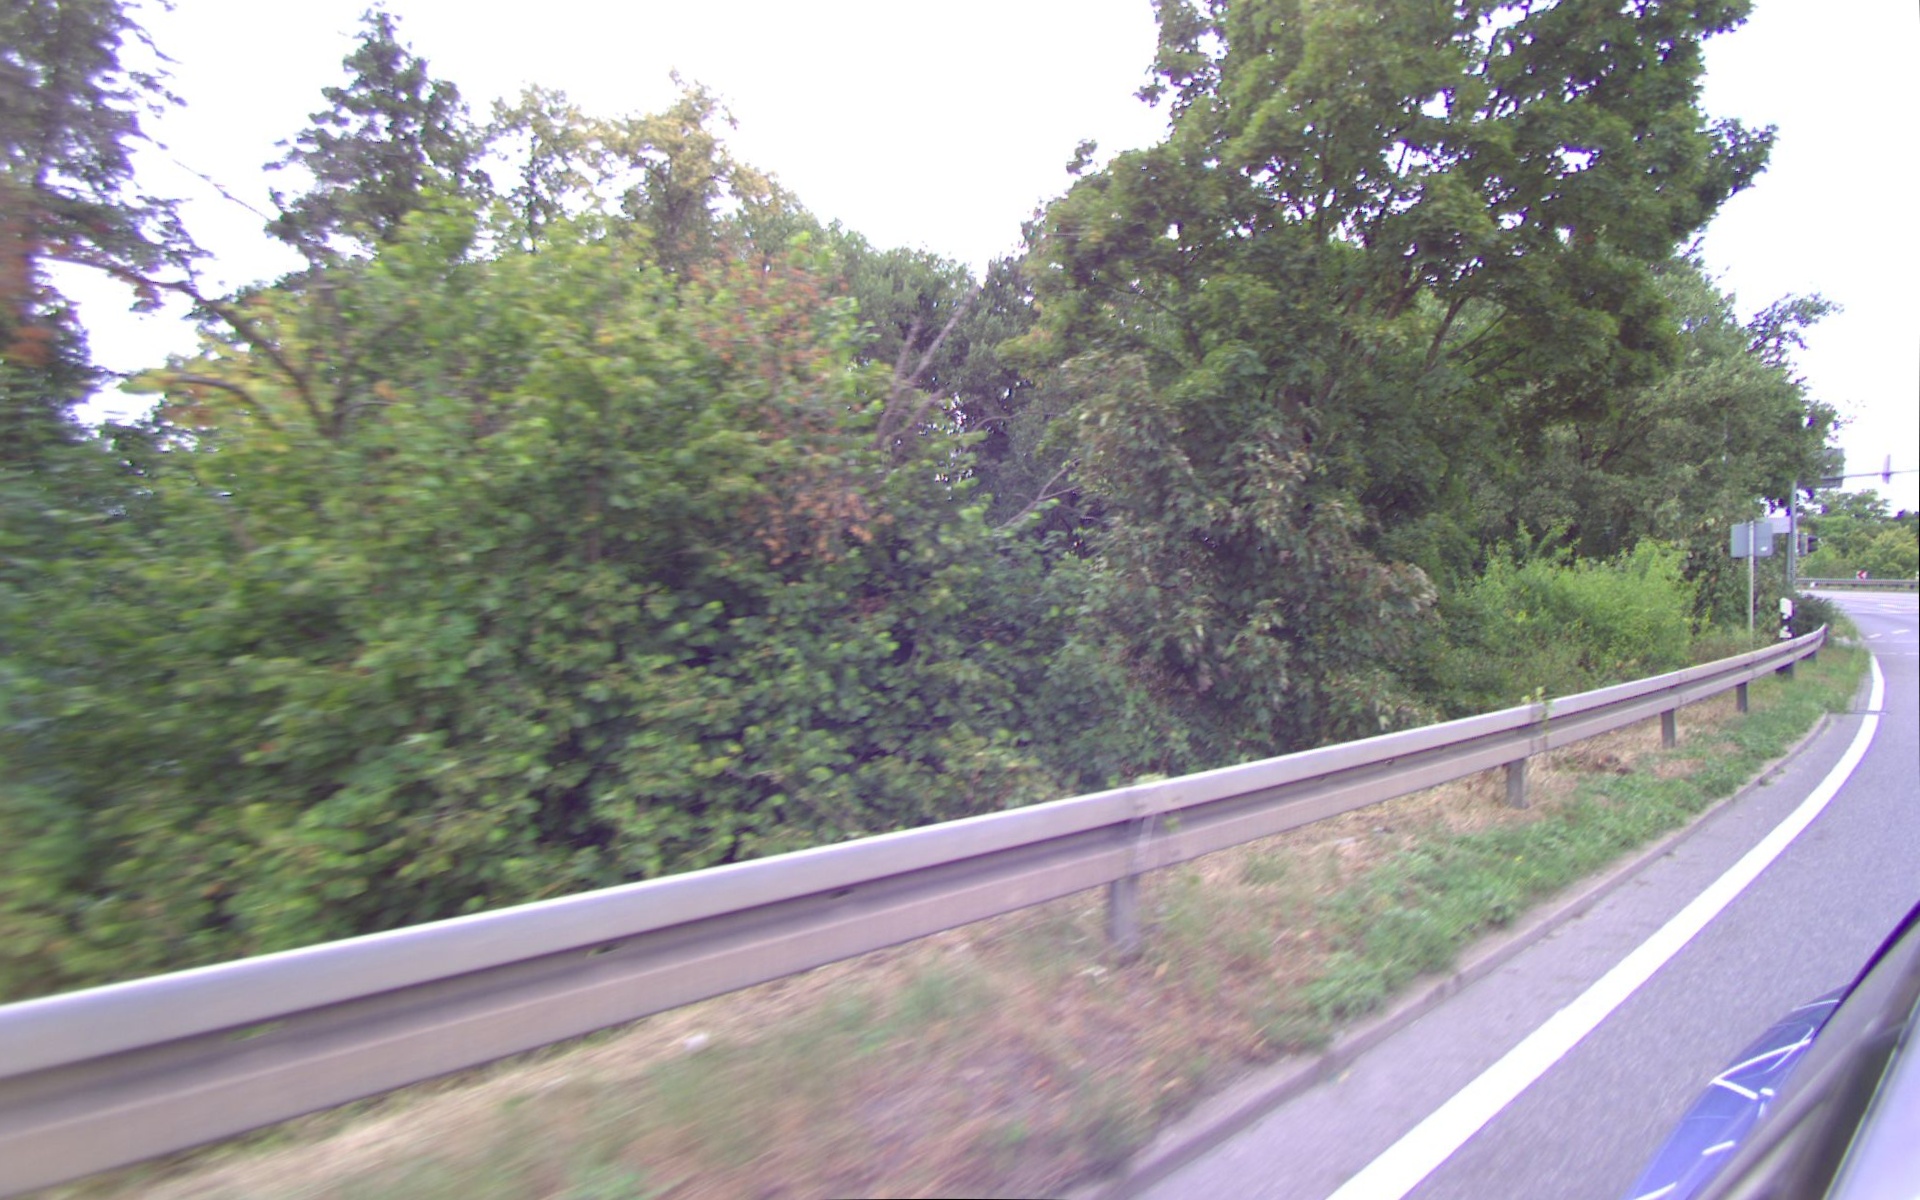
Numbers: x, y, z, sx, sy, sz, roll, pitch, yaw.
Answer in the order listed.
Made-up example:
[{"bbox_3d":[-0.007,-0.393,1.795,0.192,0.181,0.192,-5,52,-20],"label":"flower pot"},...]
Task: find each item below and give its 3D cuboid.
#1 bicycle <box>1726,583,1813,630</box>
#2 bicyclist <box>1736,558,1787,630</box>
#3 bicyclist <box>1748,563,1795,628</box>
[{"bbox_3d":[22.525,0.164,28.192,0.619,1.152,1.748,-1,4,-36],"label":"bicycle"},{"bbox_3d":[21.476,-0.170,27.137,0.947,1.866,0.655,4,3,37],"label":"bicyclist"},{"bbox_3d":[22.557,-0.147,28.131,0.625,1.753,0.854,-1,3,-36],"label":"bicyclist"}]
